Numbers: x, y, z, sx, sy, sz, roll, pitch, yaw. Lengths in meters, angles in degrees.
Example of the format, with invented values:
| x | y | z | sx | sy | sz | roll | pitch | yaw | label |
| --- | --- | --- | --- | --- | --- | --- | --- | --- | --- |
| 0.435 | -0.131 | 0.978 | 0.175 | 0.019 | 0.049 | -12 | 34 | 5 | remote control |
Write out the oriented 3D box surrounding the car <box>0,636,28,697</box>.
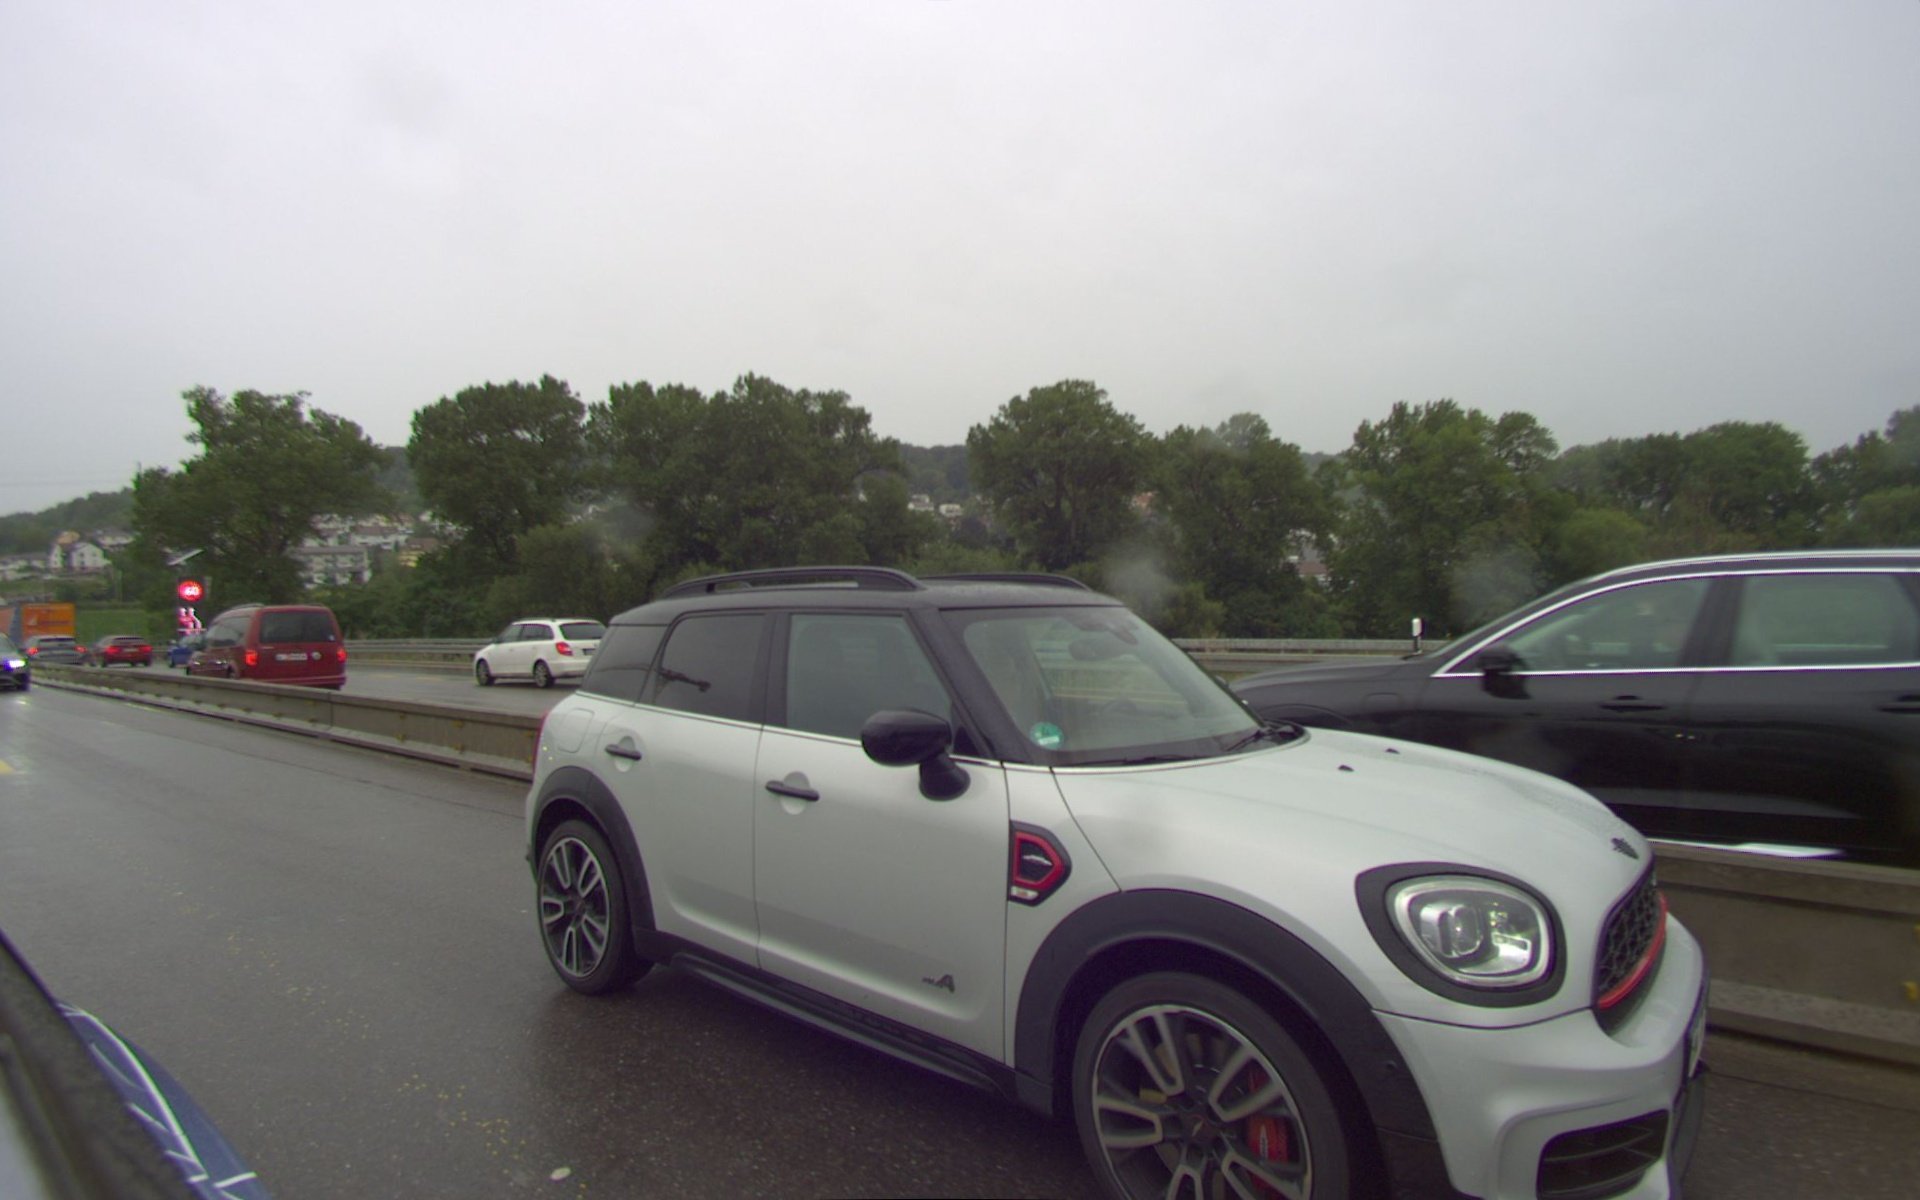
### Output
| x | y | z | sx | sy | sz | roll | pitch | yaw | label |
| --- | --- | --- | --- | --- | --- | --- | --- | --- | --- |
| -25.311 | 1.679 | 25.740 | 4.481 | 1.449 | 1.926 | -2 | -1 | 41 | car |

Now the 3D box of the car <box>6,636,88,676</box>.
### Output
| x | y | z | sx | sy | sz | roll | pitch | yaw | label |
| --- | --- | --- | --- | --- | --- | --- | --- | --- | --- |
| -35.775 | 2.190 | 39.615 | 4.409 | 1.460 | 1.887 | -3 | -4 | 42 | car |

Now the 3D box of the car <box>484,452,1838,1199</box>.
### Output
| x | y | z | sx | sy | sz | roll | pitch | yaw | label |
| --- | --- | --- | --- | --- | --- | --- | --- | --- | --- |
| 0.193 | 0.658 | 3.546 | 4.306 | 1.612 | 1.797 | -3 | -1 | 41 | car |

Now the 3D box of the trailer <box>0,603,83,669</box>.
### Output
| x | y | z | sx | sy | sz | roll | pitch | yaw | label |
| --- | --- | --- | --- | --- | --- | --- | --- | --- | --- |
| -61.376 | 2.434 | 67.005 | 13.692 | 3.938 | 3.243 | -3 | -2 | 41 | trailer |

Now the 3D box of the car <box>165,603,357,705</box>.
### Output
| x | y | z | sx | sy | sz | roll | pitch | yaw | label |
| --- | --- | --- | --- | --- | --- | --- | --- | --- | --- |
| -13.800 | 1.067 | 19.869 | 4.839 | 1.762 | 1.827 | -3 | -4 | 39 | car |

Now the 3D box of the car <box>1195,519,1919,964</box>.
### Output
| x | y | z | sx | sy | sz | roll | pitch | yaw | label |
| --- | --- | --- | --- | --- | --- | --- | --- | --- | --- |
| 3.672 | 0.566 | 5.052 | 4.467 | 1.668 | 1.973 | -2 | -2 | 41 | car |

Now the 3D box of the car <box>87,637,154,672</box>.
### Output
| x | y | z | sx | sy | sz | roll | pitch | yaw | label |
| --- | --- | --- | --- | --- | --- | --- | --- | --- | --- |
| -39.950 | 2.559 | 48.131 | 4.304 | 1.522 | 1.799 | -2 | -1 | 41 | car |

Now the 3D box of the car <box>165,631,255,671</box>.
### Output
| x | y | z | sx | sy | sz | roll | pitch | yaw | label |
| --- | --- | --- | --- | --- | --- | --- | --- | --- | --- |
| -31.807 | 2.152 | 42.876 | 4.741 | 1.522 | 1.974 | -3 | -1 | 39 | car |

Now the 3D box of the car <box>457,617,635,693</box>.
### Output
| x | y | z | sx | sy | sz | roll | pitch | yaw | label |
| --- | --- | --- | --- | --- | --- | --- | --- | --- | --- |
| -9.482 | 1.260 | 23.065 | 4.263 | 1.589 | 1.828 | -3 | -4 | 37 | car |

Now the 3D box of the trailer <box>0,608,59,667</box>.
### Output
| x | y | z | sx | sy | sz | roll | pitch | yaw | label |
| --- | --- | --- | --- | --- | --- | --- | --- | --- | --- |
| -66.088 | 2.663 | 71.212 | 6.348 | 3.948 | 3.235 | -3 | -2 | 41 | trailer |
